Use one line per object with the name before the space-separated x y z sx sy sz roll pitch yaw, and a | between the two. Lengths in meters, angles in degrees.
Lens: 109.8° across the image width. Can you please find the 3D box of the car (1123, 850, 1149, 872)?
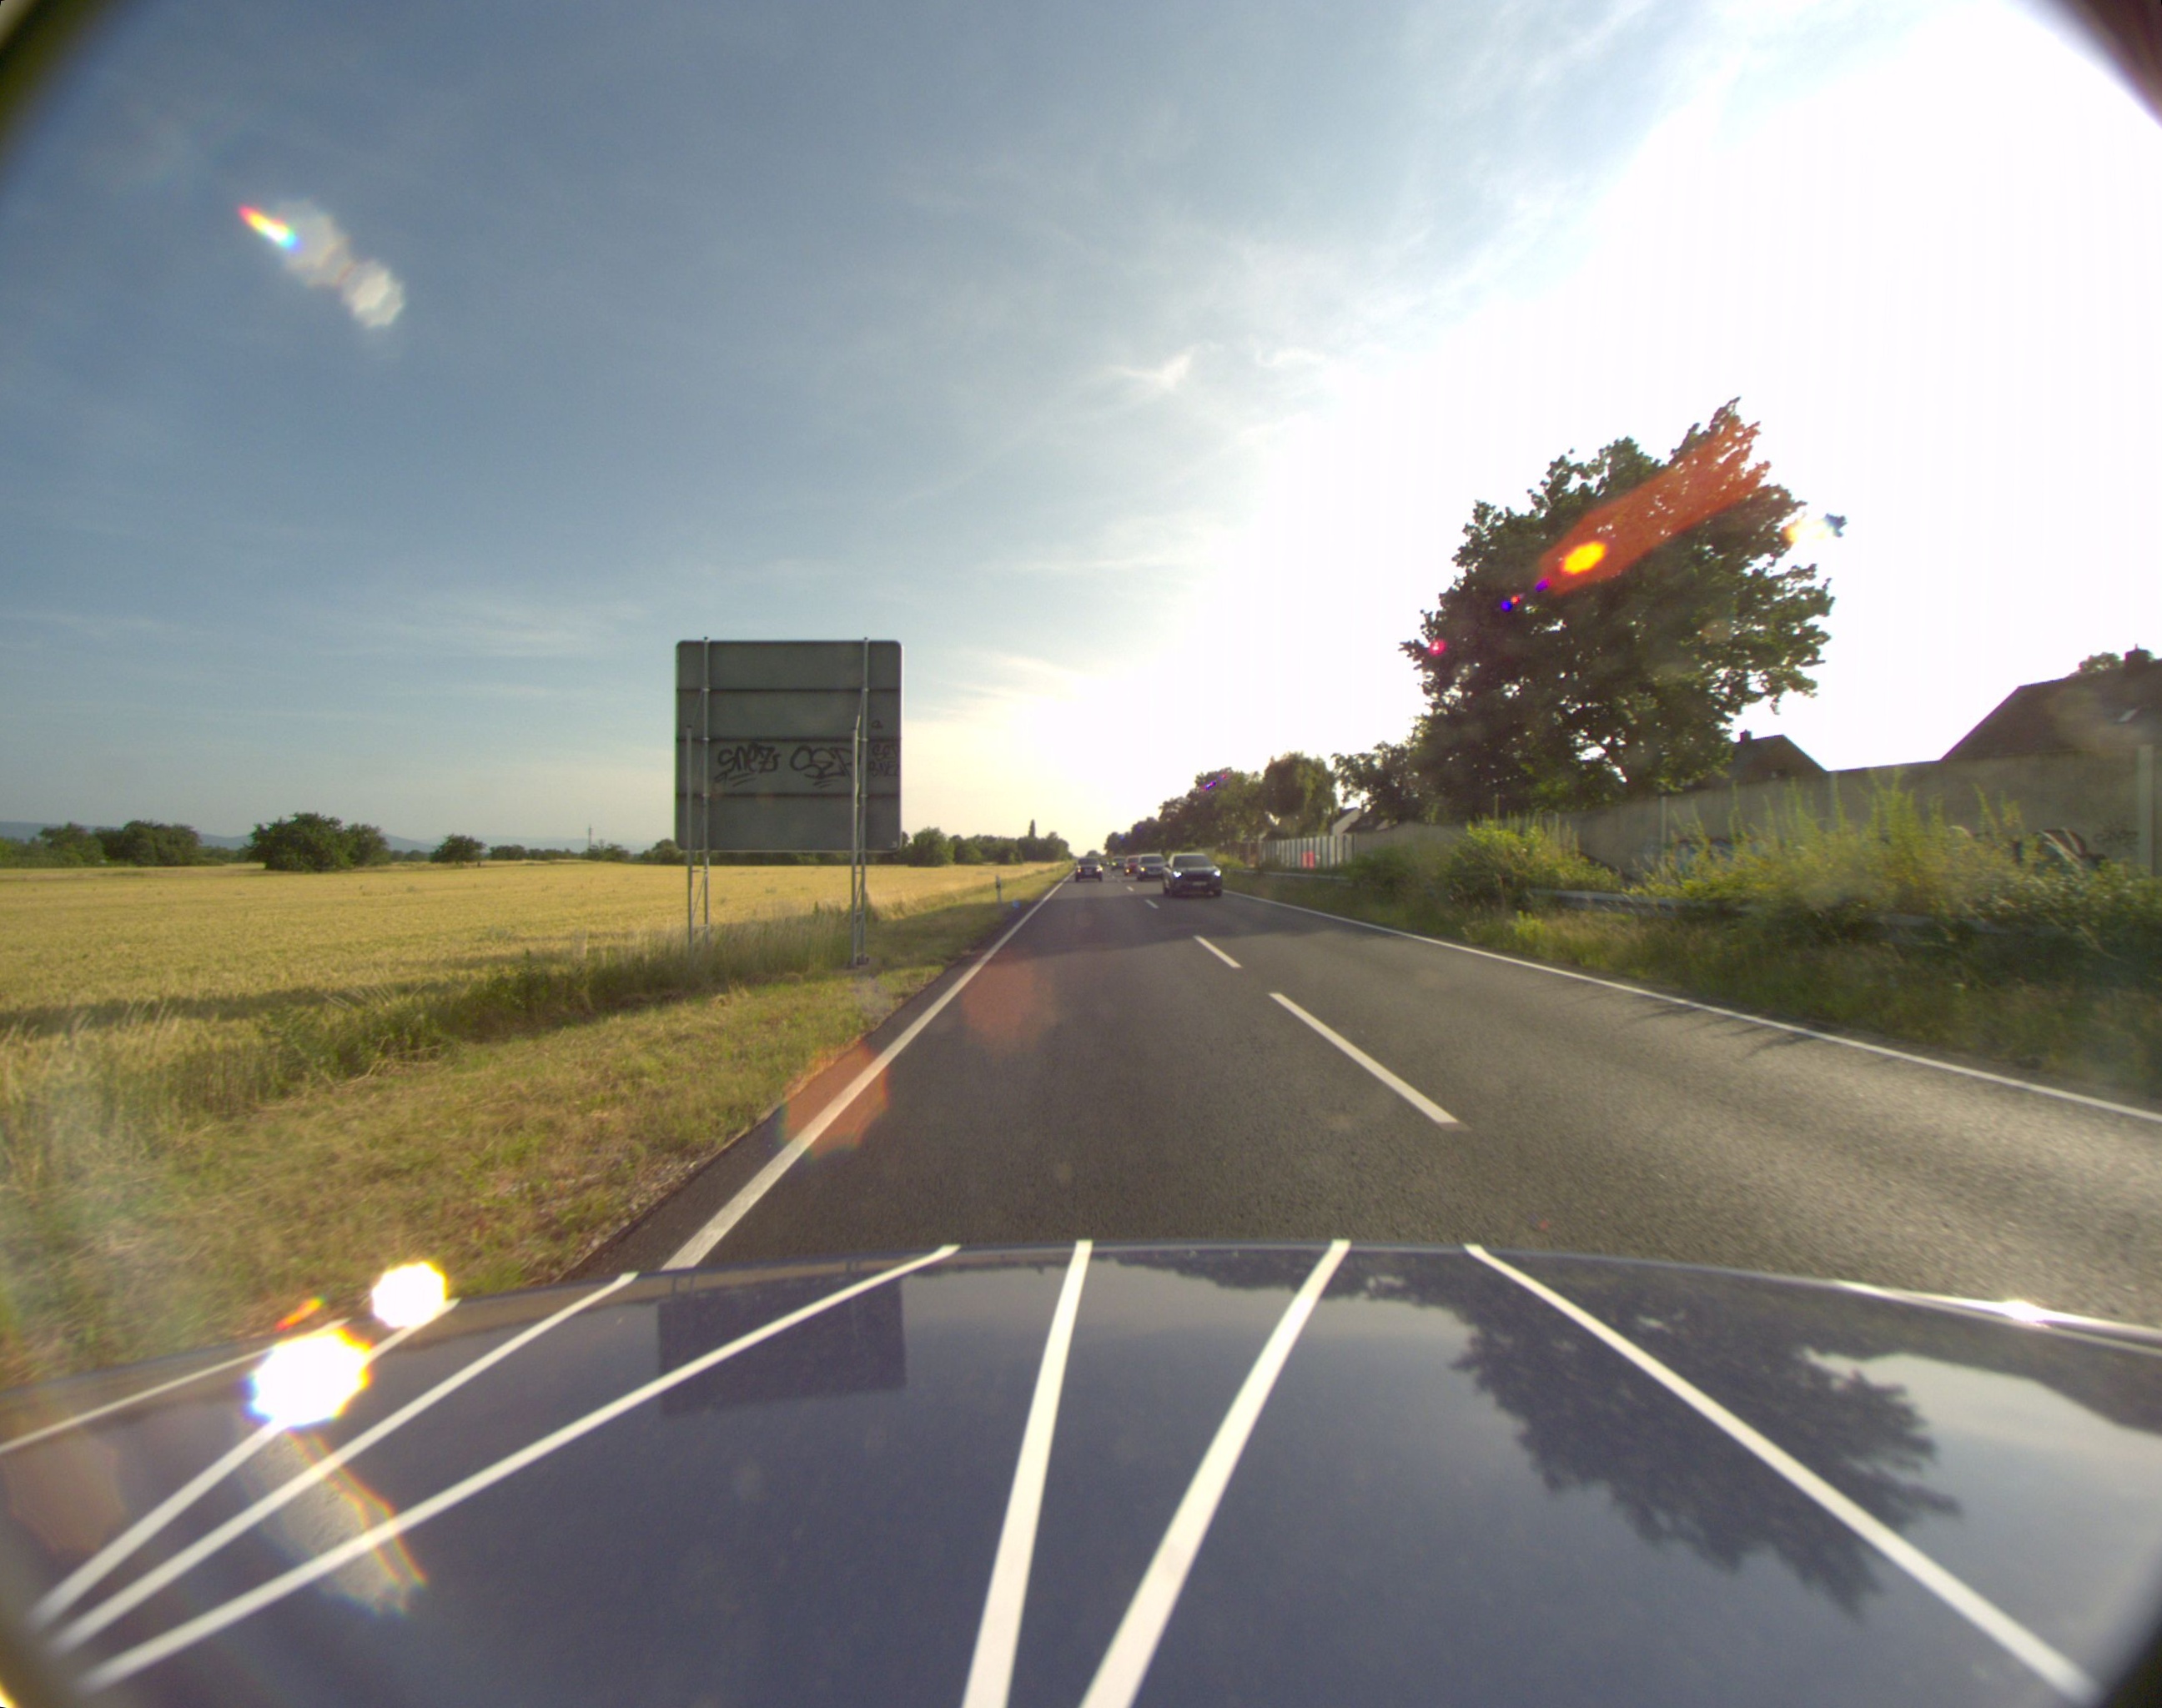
car | 4.558 0.556 63.039 1.822 1.661 4.000 -2 1 0

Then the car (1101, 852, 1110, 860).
car | 5.092 0.389 156.290 1.693 1.397 3.999 -2 1 0

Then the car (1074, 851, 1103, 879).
car | 0.471 0.698 50.060 1.822 1.661 3.999 -2 1 0

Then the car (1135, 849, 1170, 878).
car | 4.450 0.554 47.994 1.822 1.724 4.000 -2 1 1

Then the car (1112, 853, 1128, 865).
car | 4.796 0.606 93.211 1.700 1.456 3.646 -2 1 0

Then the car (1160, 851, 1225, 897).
car | 4.138 0.706 28.815 1.822 1.516 4.246 -2 1 1
